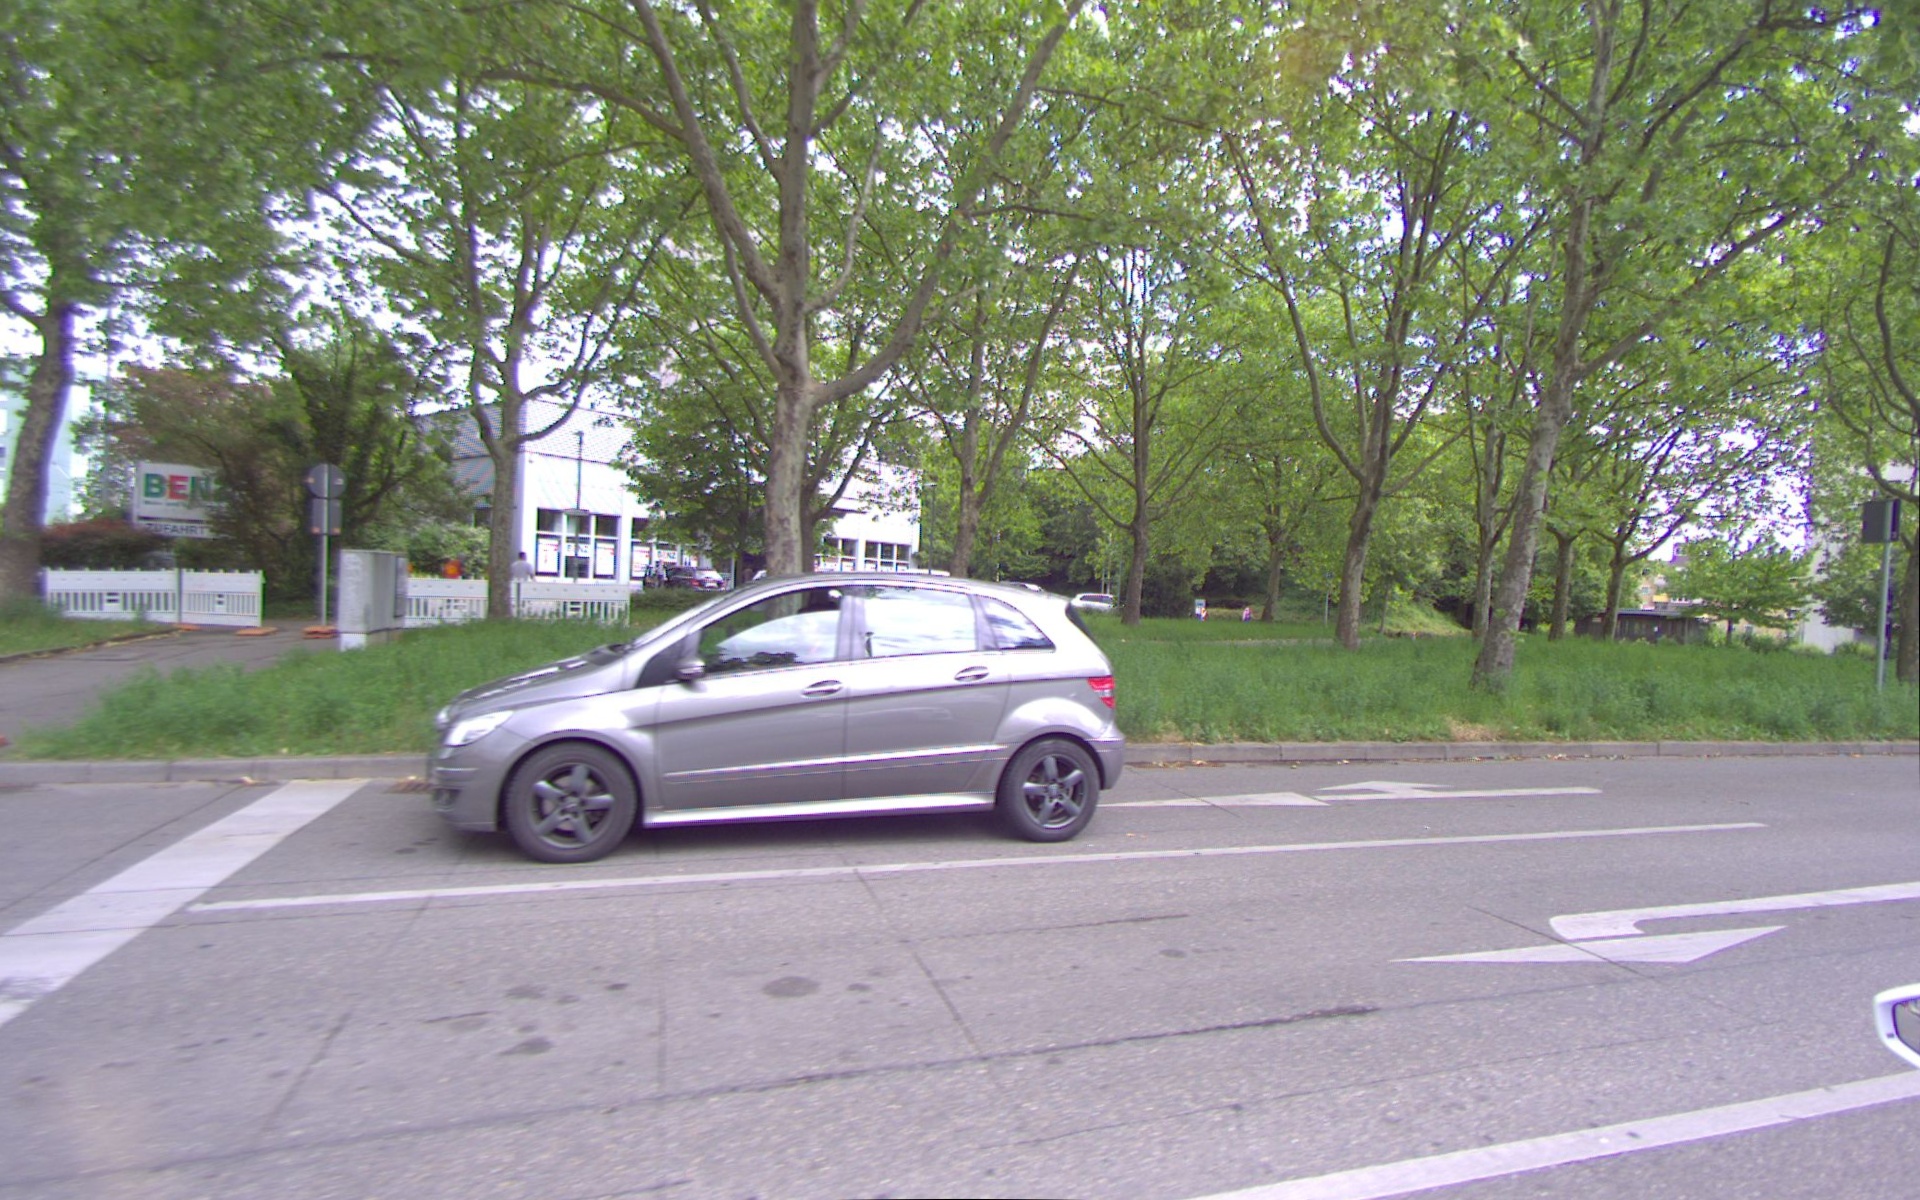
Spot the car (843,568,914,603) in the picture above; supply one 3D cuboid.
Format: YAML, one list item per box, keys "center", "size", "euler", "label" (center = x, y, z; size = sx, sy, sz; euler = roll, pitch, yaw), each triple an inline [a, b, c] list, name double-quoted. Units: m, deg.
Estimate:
- center: [-4.367, -0.790, 53.407]
  size: [3.768, 1.656, 1.664]
  euler: [4, 1, 43]
  label: "car"

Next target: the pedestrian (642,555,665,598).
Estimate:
- center: [-13.112, -1.003, 42.949]
  size: [0.728, 1.768, 0.618]
  euler: [2, 0, 37]
  label: "pedestrian"

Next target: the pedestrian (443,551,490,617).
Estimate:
- center: [-11.991, -0.382, 24.427]
  size: [0.757, 1.559, 0.656]
  euler: [2, 0, 11]
  label: "pedestrian"

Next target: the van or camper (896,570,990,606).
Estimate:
- center: [-0.726, -0.502, 40.793]
  size: [3.719, 1.374, 1.511]
  euler: [2, 0, 41]
  label: "van or camper"

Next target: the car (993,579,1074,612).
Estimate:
- center: [3.273, -0.205, 44.950]
  size: [3.202, 1.272, 1.686]
  euler: [4, 0, 42]
  label: "car"

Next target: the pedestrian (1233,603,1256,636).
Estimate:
- center: [17.480, 1.208, 61.609]
  size: [0.969, 1.976, 1.082]
  euler: [4, 0, 33]
  label: "pedestrian"

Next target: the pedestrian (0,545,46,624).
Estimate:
- center: [-18.597, -0.309, 19.698]
  size: [0.708, 1.509, 0.698]
  euler: [2, 0, -13]
  label: "pedestrian"

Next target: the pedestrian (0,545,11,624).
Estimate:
- center: [-18.576, -0.304, 18.955]
  size: [0.676, 1.509, 0.697]
  euler: [2, 0, -14]
  label: "pedestrian"

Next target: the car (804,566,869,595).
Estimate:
- center: [-6.320, -0.995, 51.147]
  size: [3.360, 1.423, 1.477]
  euler: [2, 0, 43]
  label: "car"

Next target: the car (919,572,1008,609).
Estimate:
- center: [0.131, -0.415, 43.374]
  size: [3.837, 1.485, 1.476]
  euler: [2, 0, 43]
  label: "car"

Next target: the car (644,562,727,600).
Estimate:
- center: [-11.914, -0.804, 43.486]
  size: [1.722, 1.520, 4.214]
  euler: [2, 0, -43]
  label: "car"

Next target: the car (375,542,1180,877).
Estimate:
- center: [-0.989, 0.585, 6.343]
  size: [4.342, 1.607, 1.765]
  euler: [2, 0, -18]
  label: "car"

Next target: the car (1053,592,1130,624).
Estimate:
- center: [6.774, 0.409, 51.848]
  size: [1.722, 1.520, 3.697]
  euler: [2, 0, -43]
  label: "car"

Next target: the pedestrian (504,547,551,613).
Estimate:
- center: [-10.788, -0.495, 25.083]
  size: [0.780, 1.607, 0.851]
  euler: [2, 0, -2]
  label: "pedestrian"

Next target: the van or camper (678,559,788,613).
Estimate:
- center: [-7.694, -0.499, 33.823]
  size: [1.833, 1.706, 3.948]
  euler: [0, 1, -44]
  label: "van or camper"

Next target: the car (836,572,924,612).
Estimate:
- center: [-3.090, -0.312, 38.295]
  size: [3.362, 1.423, 1.476]
  euler: [2, 0, 44]
  label: "car"
